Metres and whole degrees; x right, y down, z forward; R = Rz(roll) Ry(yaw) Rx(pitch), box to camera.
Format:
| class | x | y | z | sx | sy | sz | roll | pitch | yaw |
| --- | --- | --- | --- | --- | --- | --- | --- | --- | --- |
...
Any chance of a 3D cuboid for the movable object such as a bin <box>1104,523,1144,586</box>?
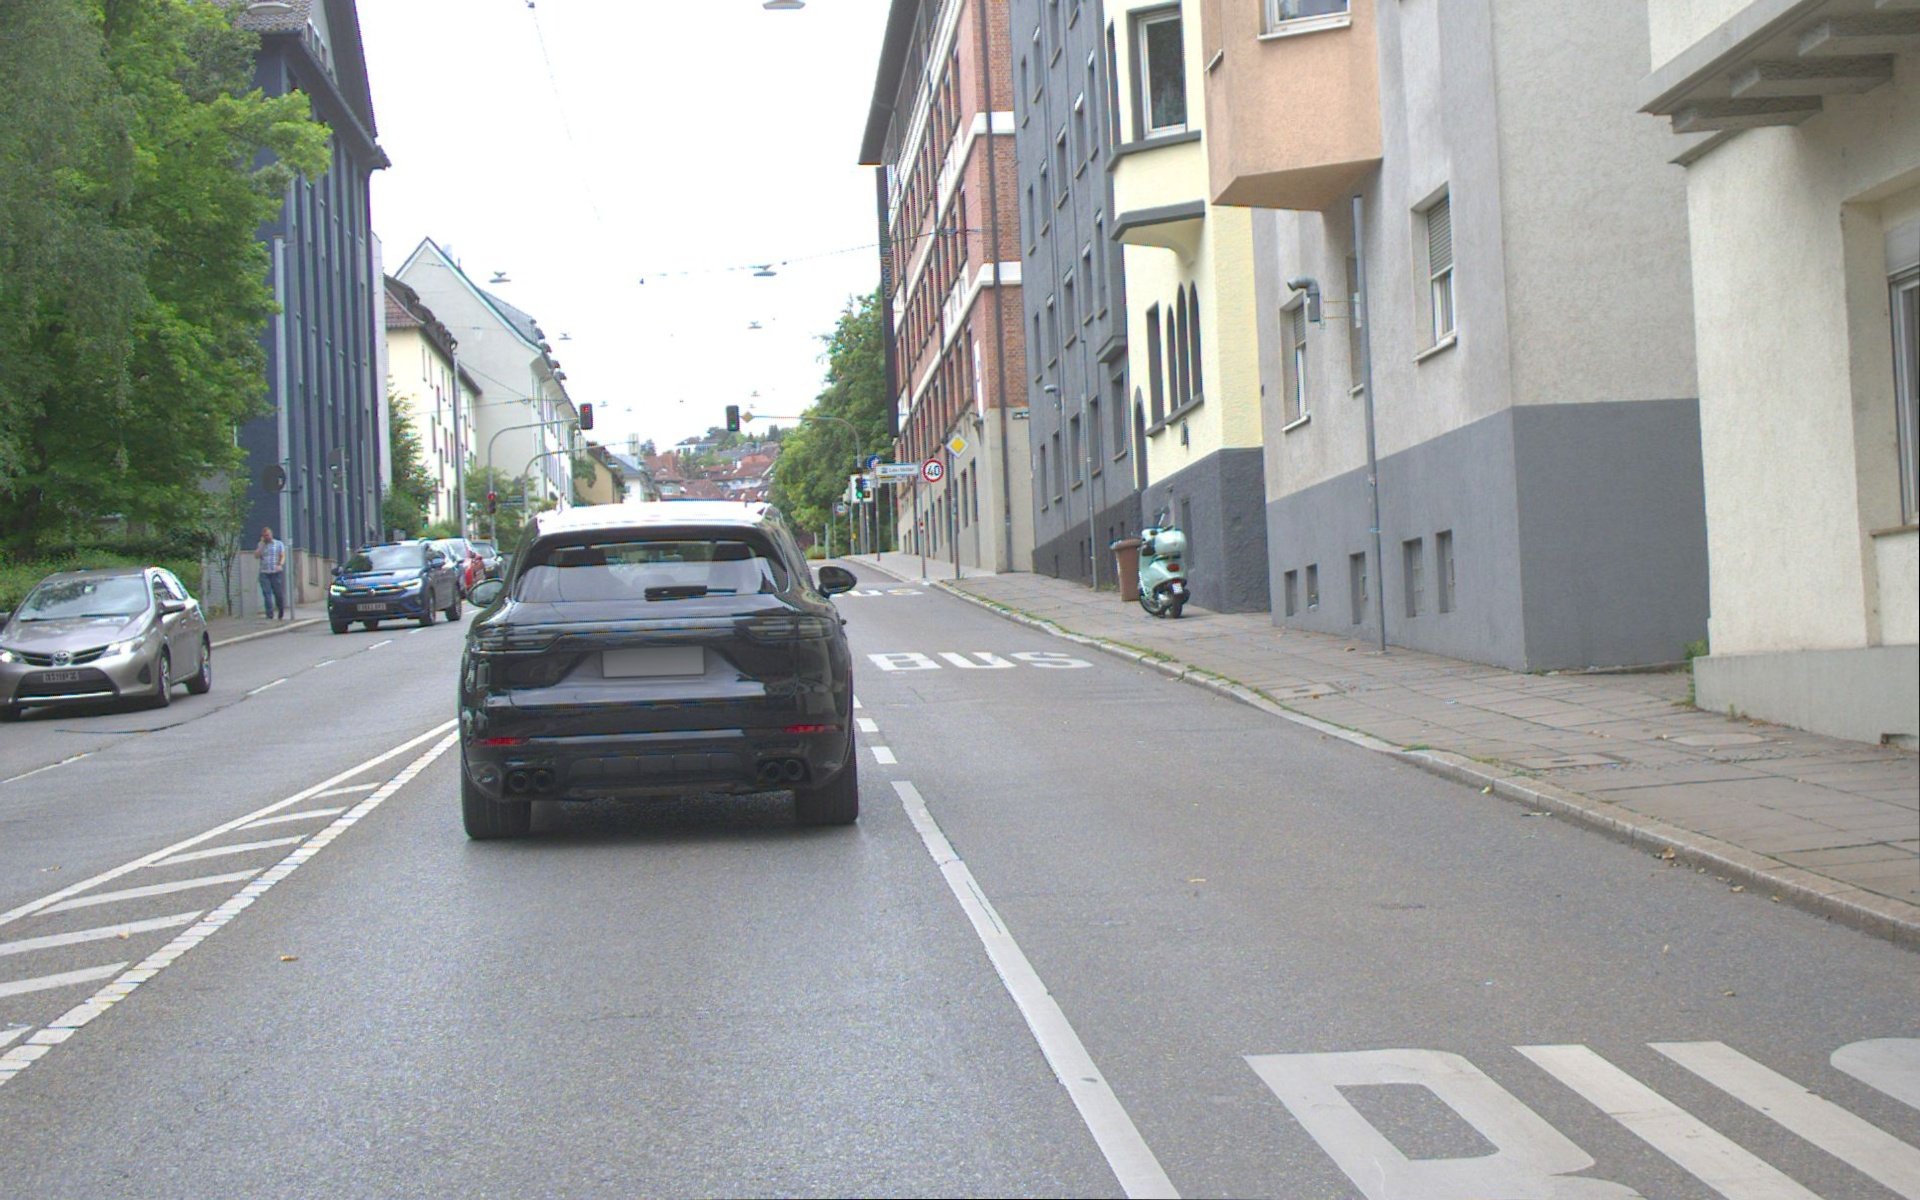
| class | x | y | z | sx | sy | sz | roll | pitch | yaw |
| --- | --- | --- | --- | --- | --- | --- | --- | --- | --- |
| movable object such as a bin | 2.466 | -0.688 | 51.806 | 0.474 | 0.889 | 0.517 | -5 | 2 | -4 |

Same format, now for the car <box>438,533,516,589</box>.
| class | x | y | z | sx | sy | sz | roll | pitch | yaw |
| --- | --- | --- | --- | --- | --- | --- | --- | --- | --- |
| car | -13.196 | -1.085 | 94.127 | 1.714 | 1.336 | 3.905 | -4 | 2 | -4 |

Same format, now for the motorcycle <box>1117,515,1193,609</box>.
| class | x | y | z | sx | sy | sz | roll | pitch | yaw |
| --- | --- | --- | --- | --- | --- | --- | --- | --- | --- |
| motorcycle | 2.539 | -0.517 | 45.047 | 0.537 | 1.152 | 2.227 | -5 | 2 | -6 |

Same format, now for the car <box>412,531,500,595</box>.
| class | x | y | z | sx | sy | sz | roll | pitch | yaw |
| --- | --- | --- | --- | --- | --- | --- | --- | --- | --- |
| car | -12.899 | -0.975 | 88.196 | 1.714 | 1.451 | 3.990 | -4 | 2 | -2 |

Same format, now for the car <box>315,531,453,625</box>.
| class | x | y | z | sx | sy | sz | roll | pitch | yaw |
| --- | --- | --- | --- | --- | --- | --- | --- | --- | --- |
| car | -10.057 | -0.412 | 60.307 | 1.839 | 1.443 | 4.312 | -4 | 2 | -3 |

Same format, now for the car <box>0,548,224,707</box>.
| class | x | y | z | sx | sy | sz | roll | pitch | yaw |
| --- | --- | --- | --- | --- | --- | --- | --- | --- | --- |
| car | -9.102 | 0.250 | 36.369 | 1.839 | 1.443 | 4.312 | -4 | 2 | -3 |

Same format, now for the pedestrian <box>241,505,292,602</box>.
| class | x | y | z | sx | sy | sz | roll | pitch | yaw |
| --- | --- | --- | --- | --- | --- | --- | --- | --- | --- |
| pedestrian | -14.052 | -0.952 | 69.671 | 0.882 | 1.943 | 0.868 | 0 | 2 | -4 |

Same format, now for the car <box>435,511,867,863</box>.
| class | x | y | z | sx | sy | sz | roll | pitch | yaw |
| --- | --- | --- | --- | --- | --- | --- | --- | --- | --- |
| car | -1.738 | 0.361 | 18.462 | 2.023 | 1.636 | 4.357 | -1 | 1 | -7 |
